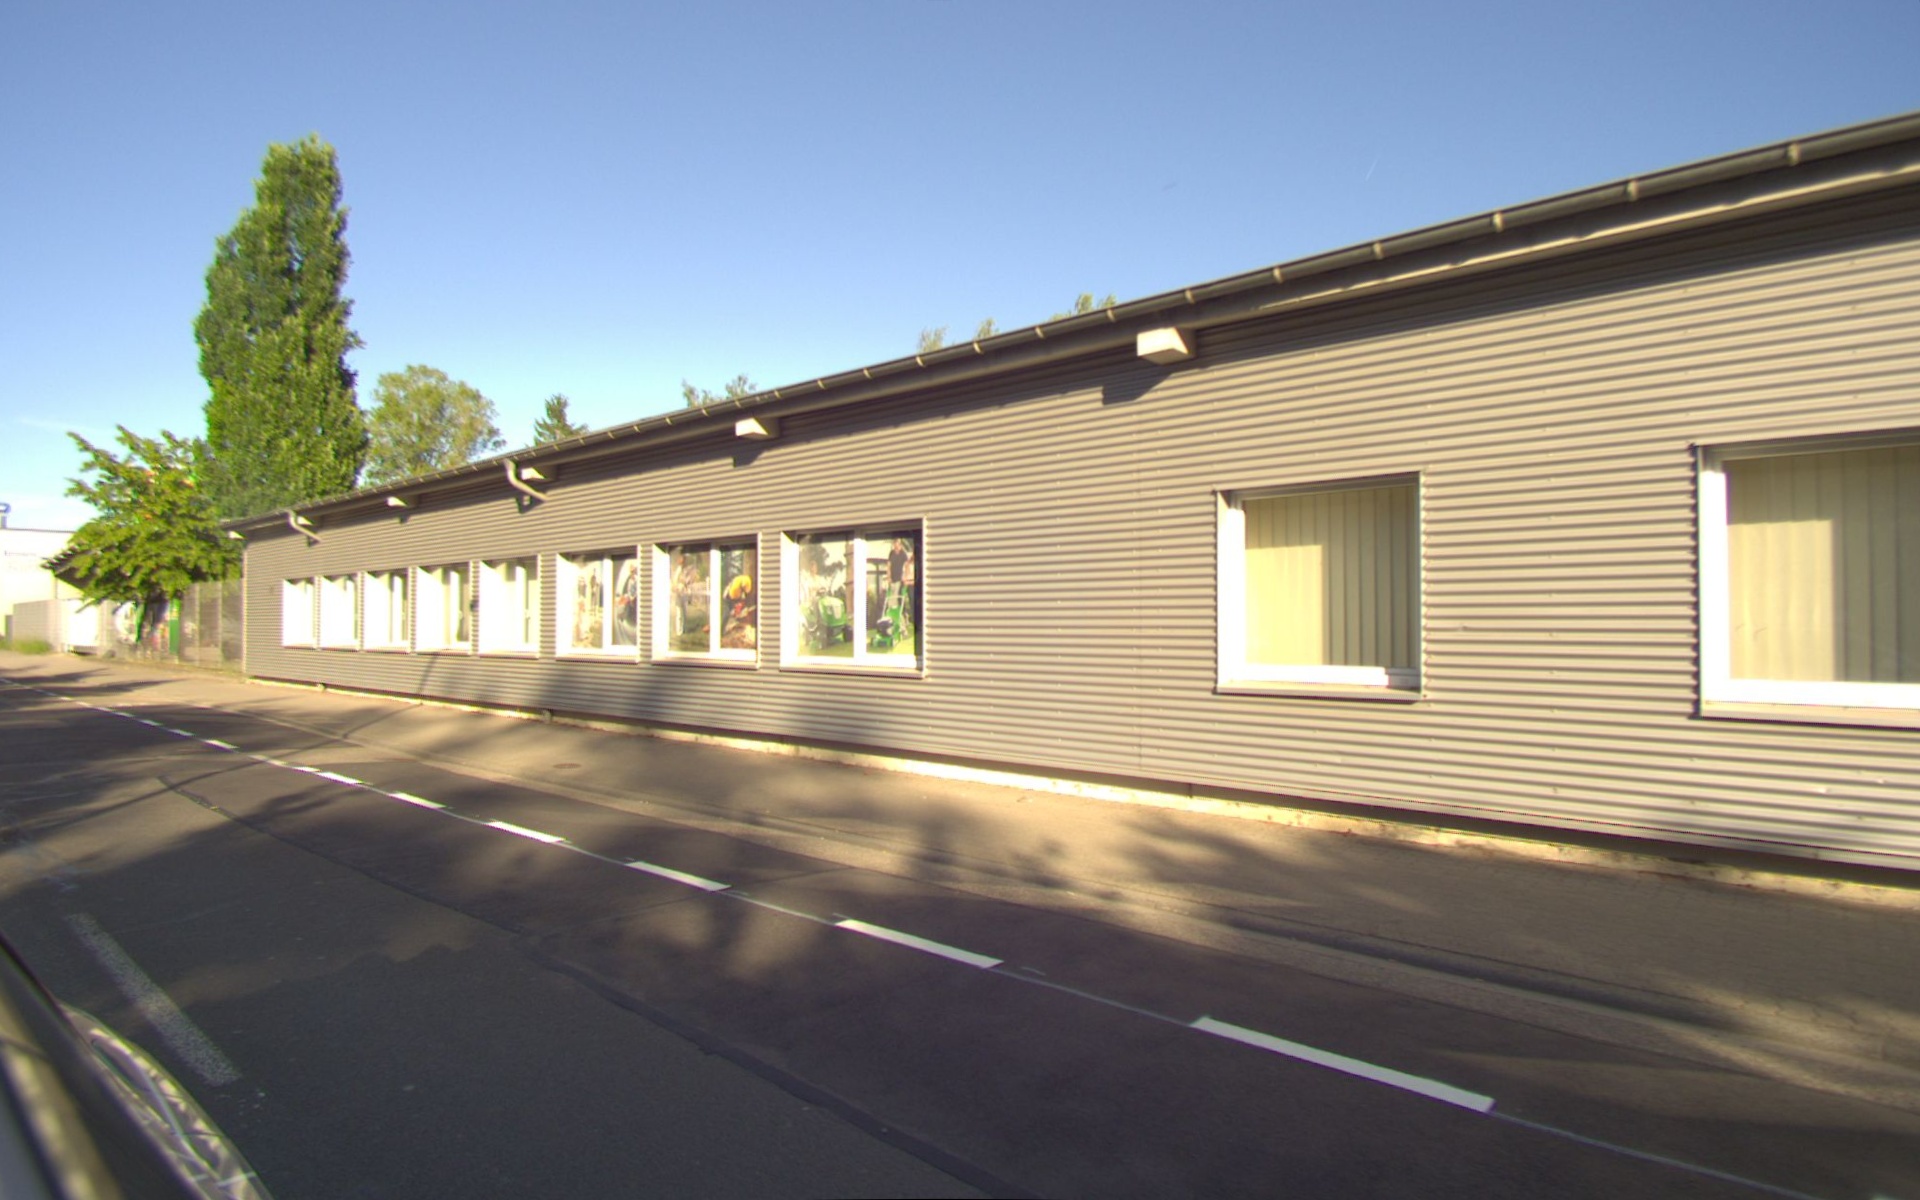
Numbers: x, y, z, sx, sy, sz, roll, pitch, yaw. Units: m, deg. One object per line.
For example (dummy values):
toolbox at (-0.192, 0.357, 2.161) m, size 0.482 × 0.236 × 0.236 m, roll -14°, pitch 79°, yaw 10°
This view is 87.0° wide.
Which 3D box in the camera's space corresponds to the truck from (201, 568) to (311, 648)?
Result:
truck at (-26.674, 0.339, 38.254) m, size 5.761 × 2.782 × 2.057 m, roll -1°, pitch -1°, yaw 41°
